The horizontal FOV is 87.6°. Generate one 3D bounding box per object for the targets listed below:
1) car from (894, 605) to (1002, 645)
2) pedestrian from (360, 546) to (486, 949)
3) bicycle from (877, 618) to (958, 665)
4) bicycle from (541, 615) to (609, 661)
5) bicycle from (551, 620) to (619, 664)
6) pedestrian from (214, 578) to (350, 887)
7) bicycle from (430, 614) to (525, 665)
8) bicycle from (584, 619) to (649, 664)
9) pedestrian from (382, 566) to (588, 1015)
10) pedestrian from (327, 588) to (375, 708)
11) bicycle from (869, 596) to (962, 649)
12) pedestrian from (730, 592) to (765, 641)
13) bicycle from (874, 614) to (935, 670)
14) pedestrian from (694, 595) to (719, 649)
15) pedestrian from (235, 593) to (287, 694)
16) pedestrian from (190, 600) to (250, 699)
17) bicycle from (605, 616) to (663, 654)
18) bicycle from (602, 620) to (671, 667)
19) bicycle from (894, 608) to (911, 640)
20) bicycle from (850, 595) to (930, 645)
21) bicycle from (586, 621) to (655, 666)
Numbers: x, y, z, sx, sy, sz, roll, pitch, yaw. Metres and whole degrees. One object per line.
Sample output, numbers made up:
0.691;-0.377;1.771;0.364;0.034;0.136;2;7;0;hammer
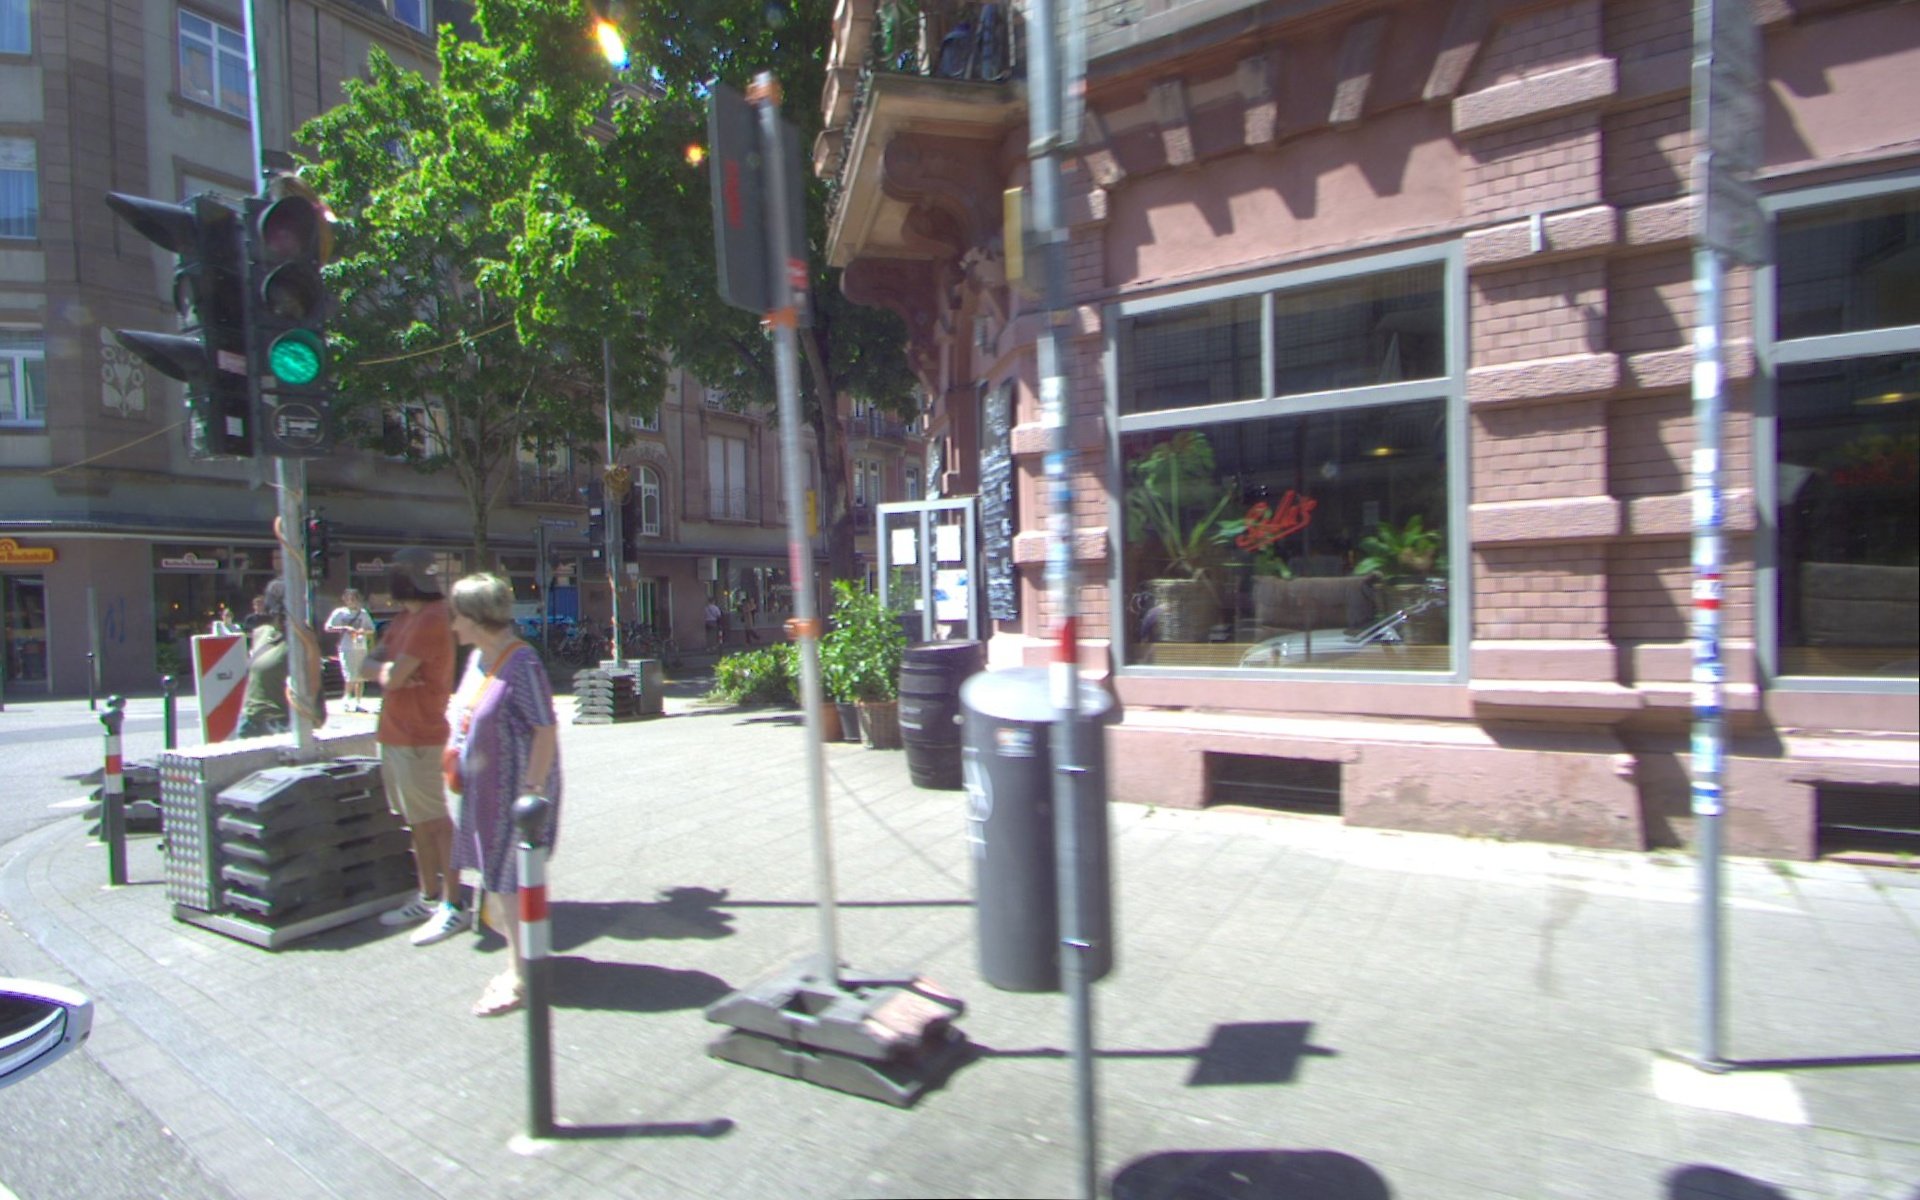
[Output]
-0.467;0.918;38.368;3.795;1.458;1.784;0;1;30;car
-2.392;0.622;4.459;0.396;1.698;0.331;0;1;38;pedestrian
-0.838;0.827;20.576;0.502;0.883;2.061;0;0;35;bicycle
-9.761;0.941;25.429;0.463;1.095;1.758;2;1;28;bicycle
-9.357;1.034;25.046;0.463;1.010;1.758;2;1;28;bicycle
-3.687;0.680;5.450;0.473;1.581;0.458;0;1;38;pedestrian
-11.596;0.937;24.113;1.965;1.147;0.512;-1;1;-41;bicycle
-8.552;1.021;24.960;0.463;1.019;1.682;2;1;28;bicycle
-1.794;0.665;3.802;0.431;1.564;0.491;0;3;38;pedestrian
-9.244;0.718;15.193;0.473;1.755;0.865;-2;0;-39;pedestrian
-0.757;0.382;17.846;0.502;0.883;2.061;0;0;35;bicycle
-7.243;0.555;34.147;0.776;1.656;0.854;0;1;31;pedestrian
-1.172;0.879;21.487;0.501;1.122;1.778;-1;0;25;bicycle
-7.864;0.683;31.029;0.552;1.636;0.489;0;1;37;pedestrian
-12.823;0.786;18.380;0.463;1.794;0.575;3;5;24;pedestrian
-13.065;0.863;17.692;0.415;1.669;0.701;3;4;23;pedestrian
-9.283;0.976;28.543;0.497;1.010;1.722;2;1;28;bicycle
-7.756;1.026;24.057;0.463;1.010;1.758;2;1;28;bicycle
-2.077;0.841;35.872;0.534;1.060;1.937;-1;0;-5;bicycle
-1.275;0.355;18.553;0.502;0.883;1.734;0;0;35;bicycle
-8.265;1.039;24.420;0.463;1.010;1.758;2;1;28;bicycle
